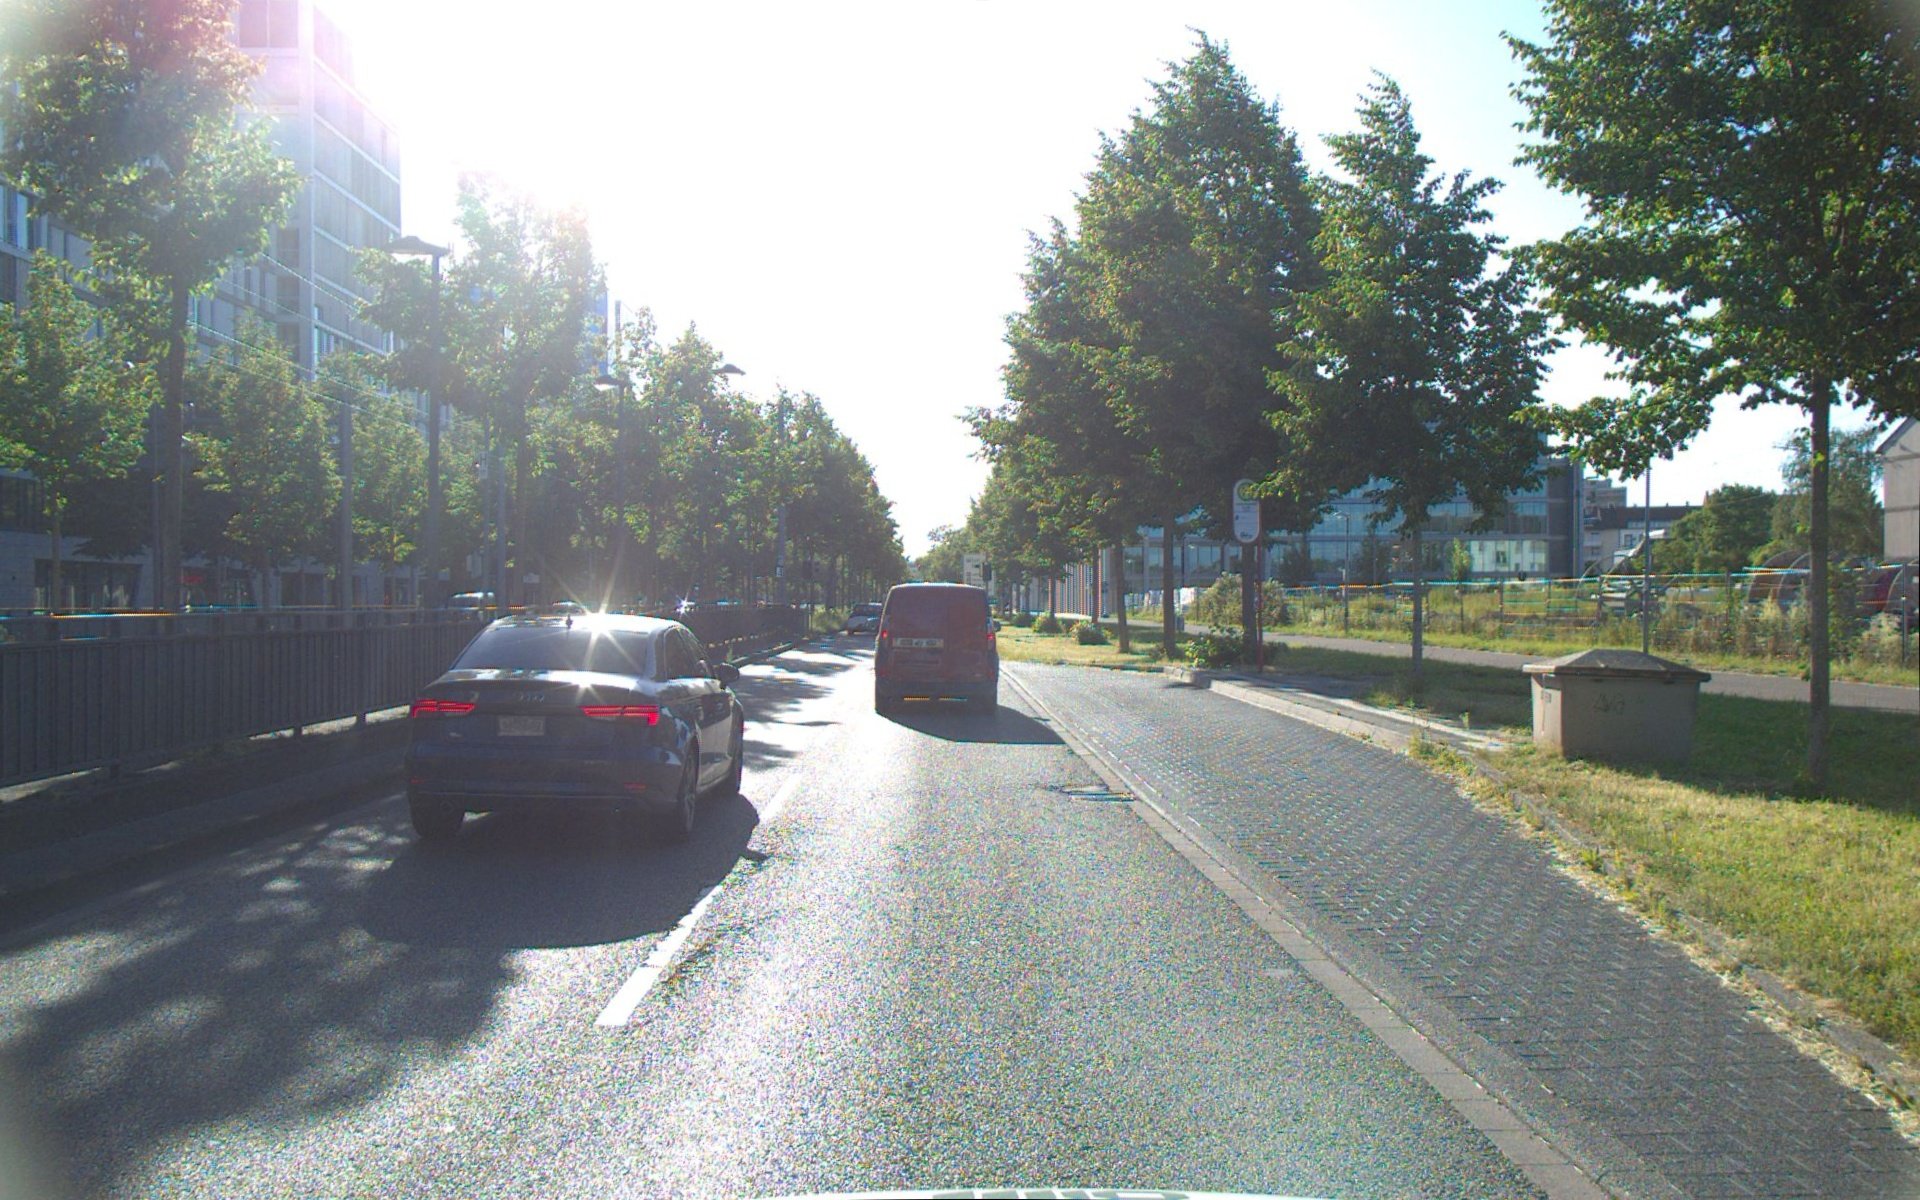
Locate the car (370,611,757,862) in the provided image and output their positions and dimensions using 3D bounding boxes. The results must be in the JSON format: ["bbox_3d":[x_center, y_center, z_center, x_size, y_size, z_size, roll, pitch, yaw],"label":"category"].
[{"bbox_3d":[-2.506,0.790,11.468,1.686,1.390,4.145,1,0,-1],"label":"car"}]

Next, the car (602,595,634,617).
[{"bbox_3d":[-24.559,0.422,118.885,1.645,1.547,3.699,0,0,-2],"label":"car"}]

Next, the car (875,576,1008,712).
[{"bbox_3d":[-0.350,0.599,24.435,1.762,1.808,3.997,1,0,-3],"label":"car"}]

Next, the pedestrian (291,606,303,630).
[{"bbox_3d":[-38.916,1.065,97.103,0.399,1.437,0.690,0,-2,-1],"label":"pedestrian"}]

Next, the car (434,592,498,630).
[{"bbox_3d":[-24.097,0.535,80.803,1.953,1.780,4.226,-1,-1,-2],"label":"car"}]

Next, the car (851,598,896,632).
[{"bbox_3d":[-3.853,0.647,73.686,1.904,1.466,3.997,0,0,-3],"label":"car"}]
